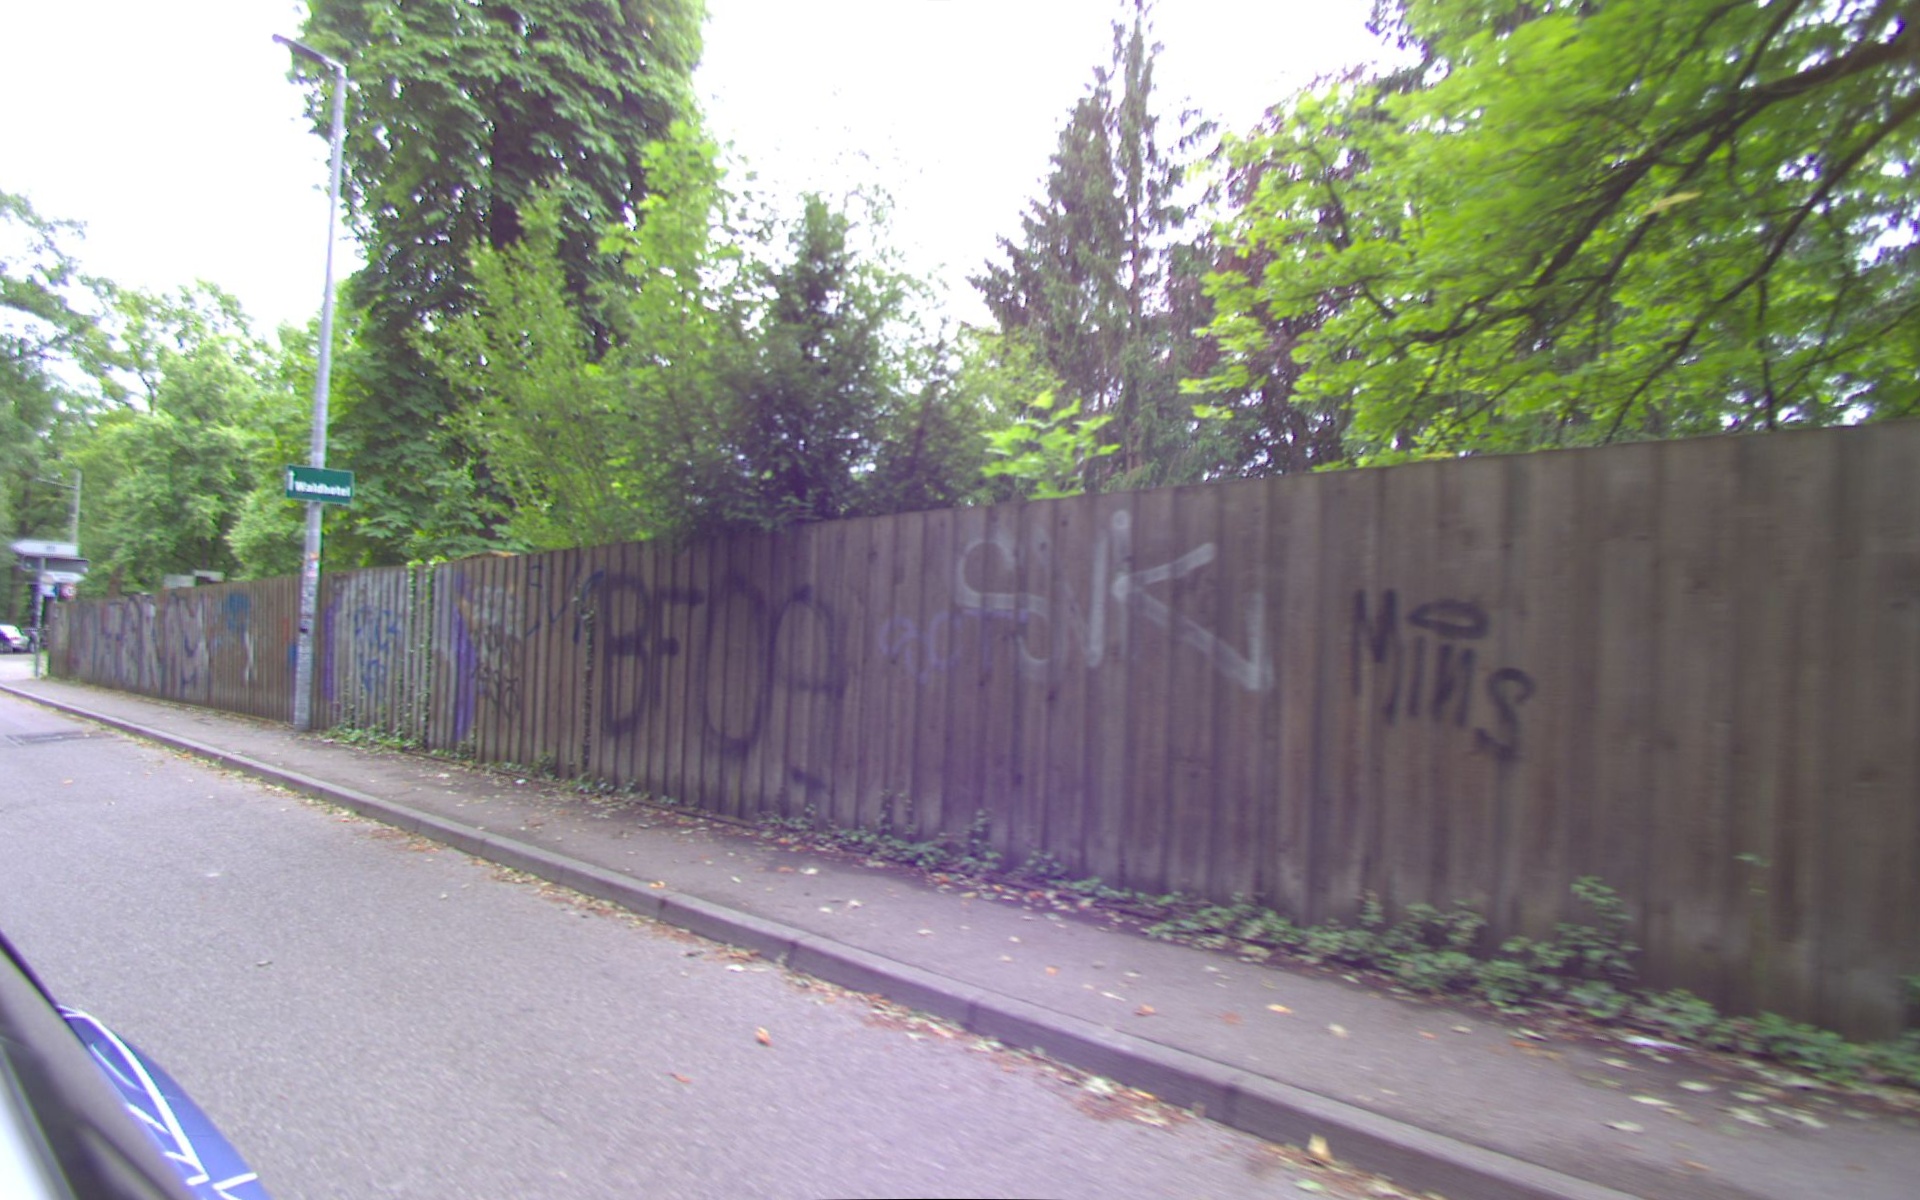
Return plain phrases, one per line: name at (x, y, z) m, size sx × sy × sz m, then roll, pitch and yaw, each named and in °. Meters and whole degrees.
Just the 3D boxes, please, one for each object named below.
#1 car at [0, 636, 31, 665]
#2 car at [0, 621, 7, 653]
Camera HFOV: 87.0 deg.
car at (-47.630, 2.520, 50.100) m, size 1.967 × 1.431 × 4.009 m, roll 2°, pitch -4°, yaw -37°
car at (-44.908, 1.675, 45.979) m, size 1.743 × 1.506 × 4.336 m, roll 3°, pitch -3°, yaw -36°
